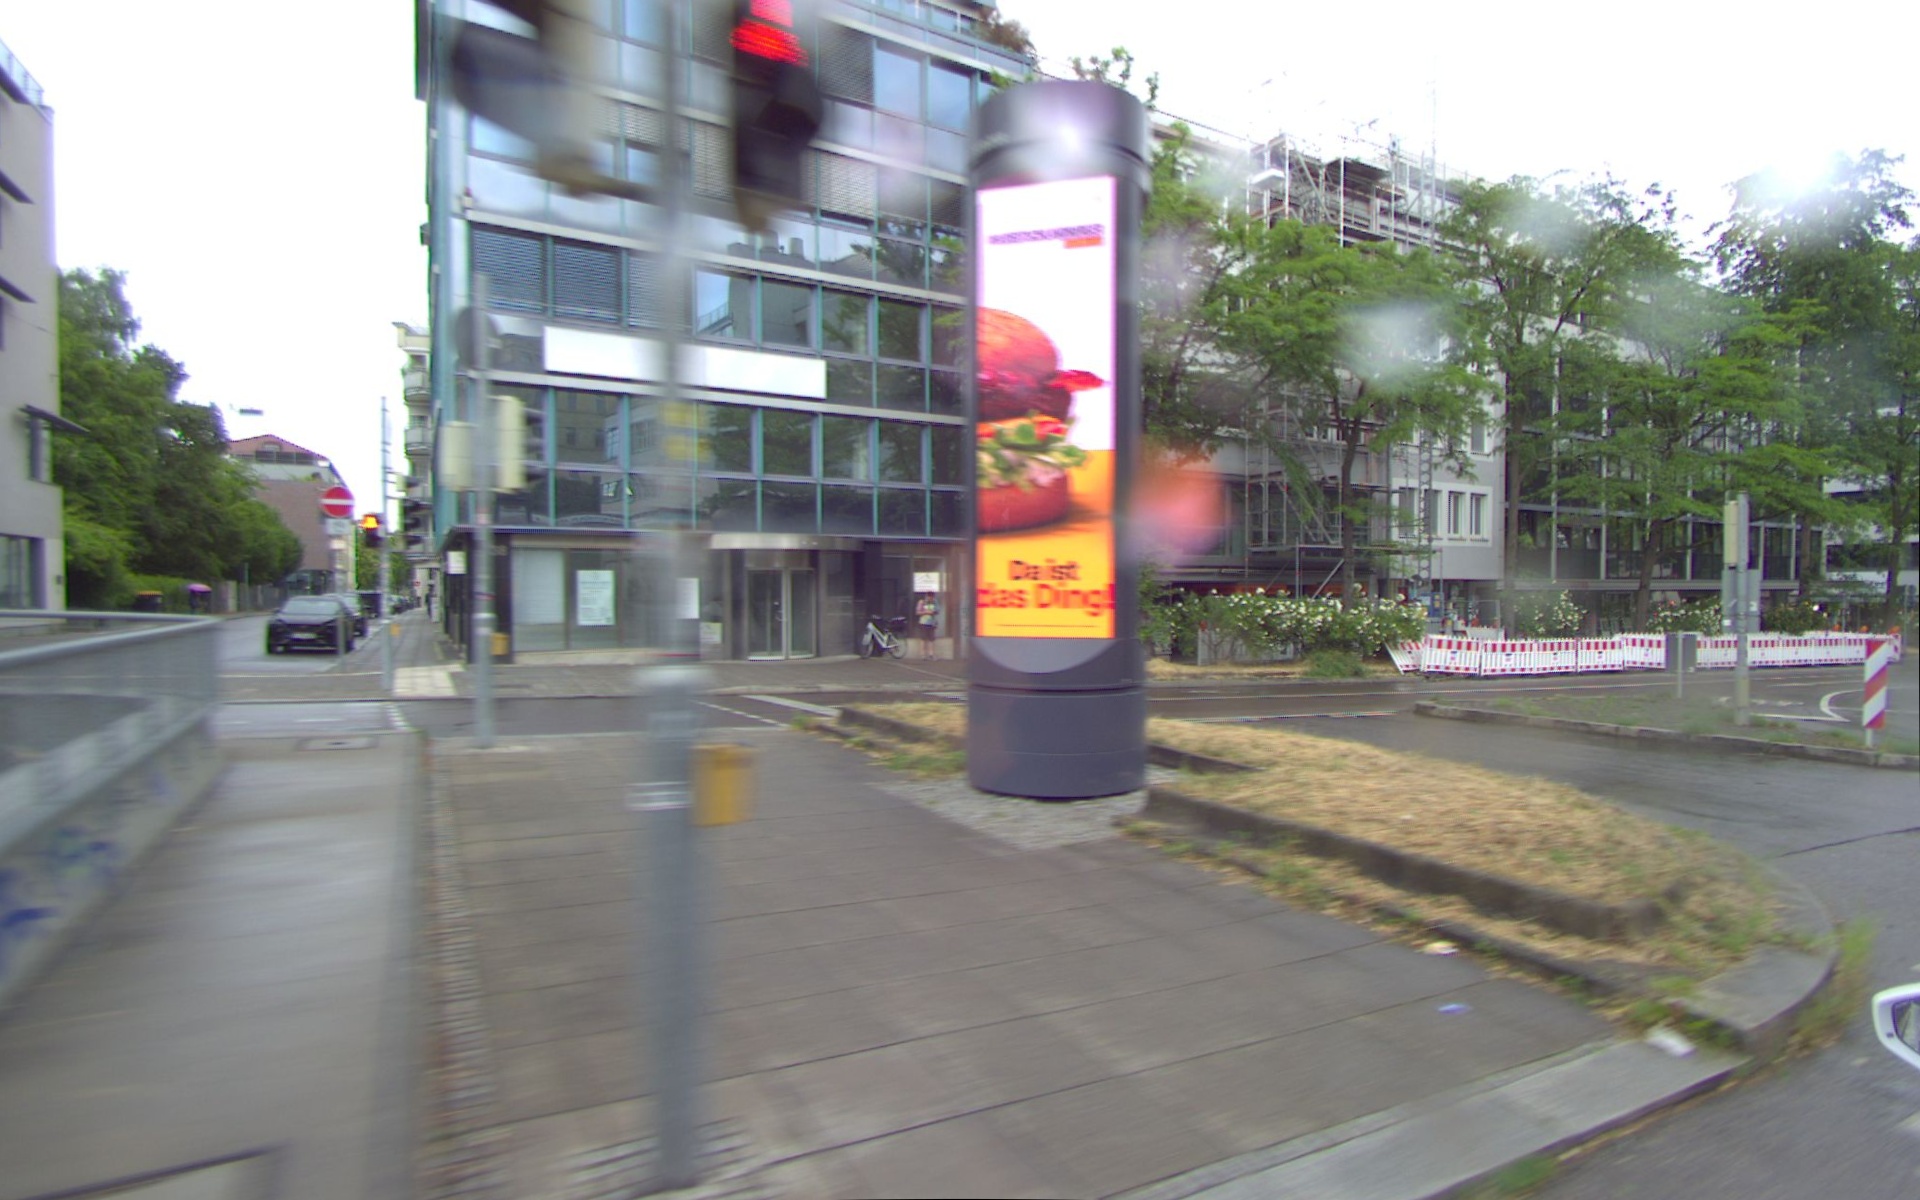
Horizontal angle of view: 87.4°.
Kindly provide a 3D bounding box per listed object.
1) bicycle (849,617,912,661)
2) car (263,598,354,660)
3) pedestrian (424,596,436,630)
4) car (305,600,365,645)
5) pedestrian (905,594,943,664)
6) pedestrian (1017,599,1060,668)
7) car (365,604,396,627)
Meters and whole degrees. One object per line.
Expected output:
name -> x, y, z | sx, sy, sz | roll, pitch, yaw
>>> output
bicycle -> -2.017, 0.999, 25.641 | 1.544, 1.100, 0.444 | 1, 0, -27
car -> -18.126, 0.777, 28.101 | 1.977, 1.578, 3.966 | 1, -1, -31
pedestrian -> -26.034, 0.627, 49.347 | 0.443, 1.664, 0.326 | 1, 0, -35
car -> -22.987, 0.807, 37.044 | 1.777, 1.578, 3.966 | 1, -1, -31
pedestrian -> -0.937, 0.753, 26.152 | 0.688, 1.765, 0.691 | 1, 1, -35
pedestrian -> 2.068, 0.876, 26.475 | 0.867, 1.765, 0.689 | 1, 1, -32
car -> -39.678, 1.055, 68.817 | 1.777, 1.578, 3.967 | 1, -1, -30
